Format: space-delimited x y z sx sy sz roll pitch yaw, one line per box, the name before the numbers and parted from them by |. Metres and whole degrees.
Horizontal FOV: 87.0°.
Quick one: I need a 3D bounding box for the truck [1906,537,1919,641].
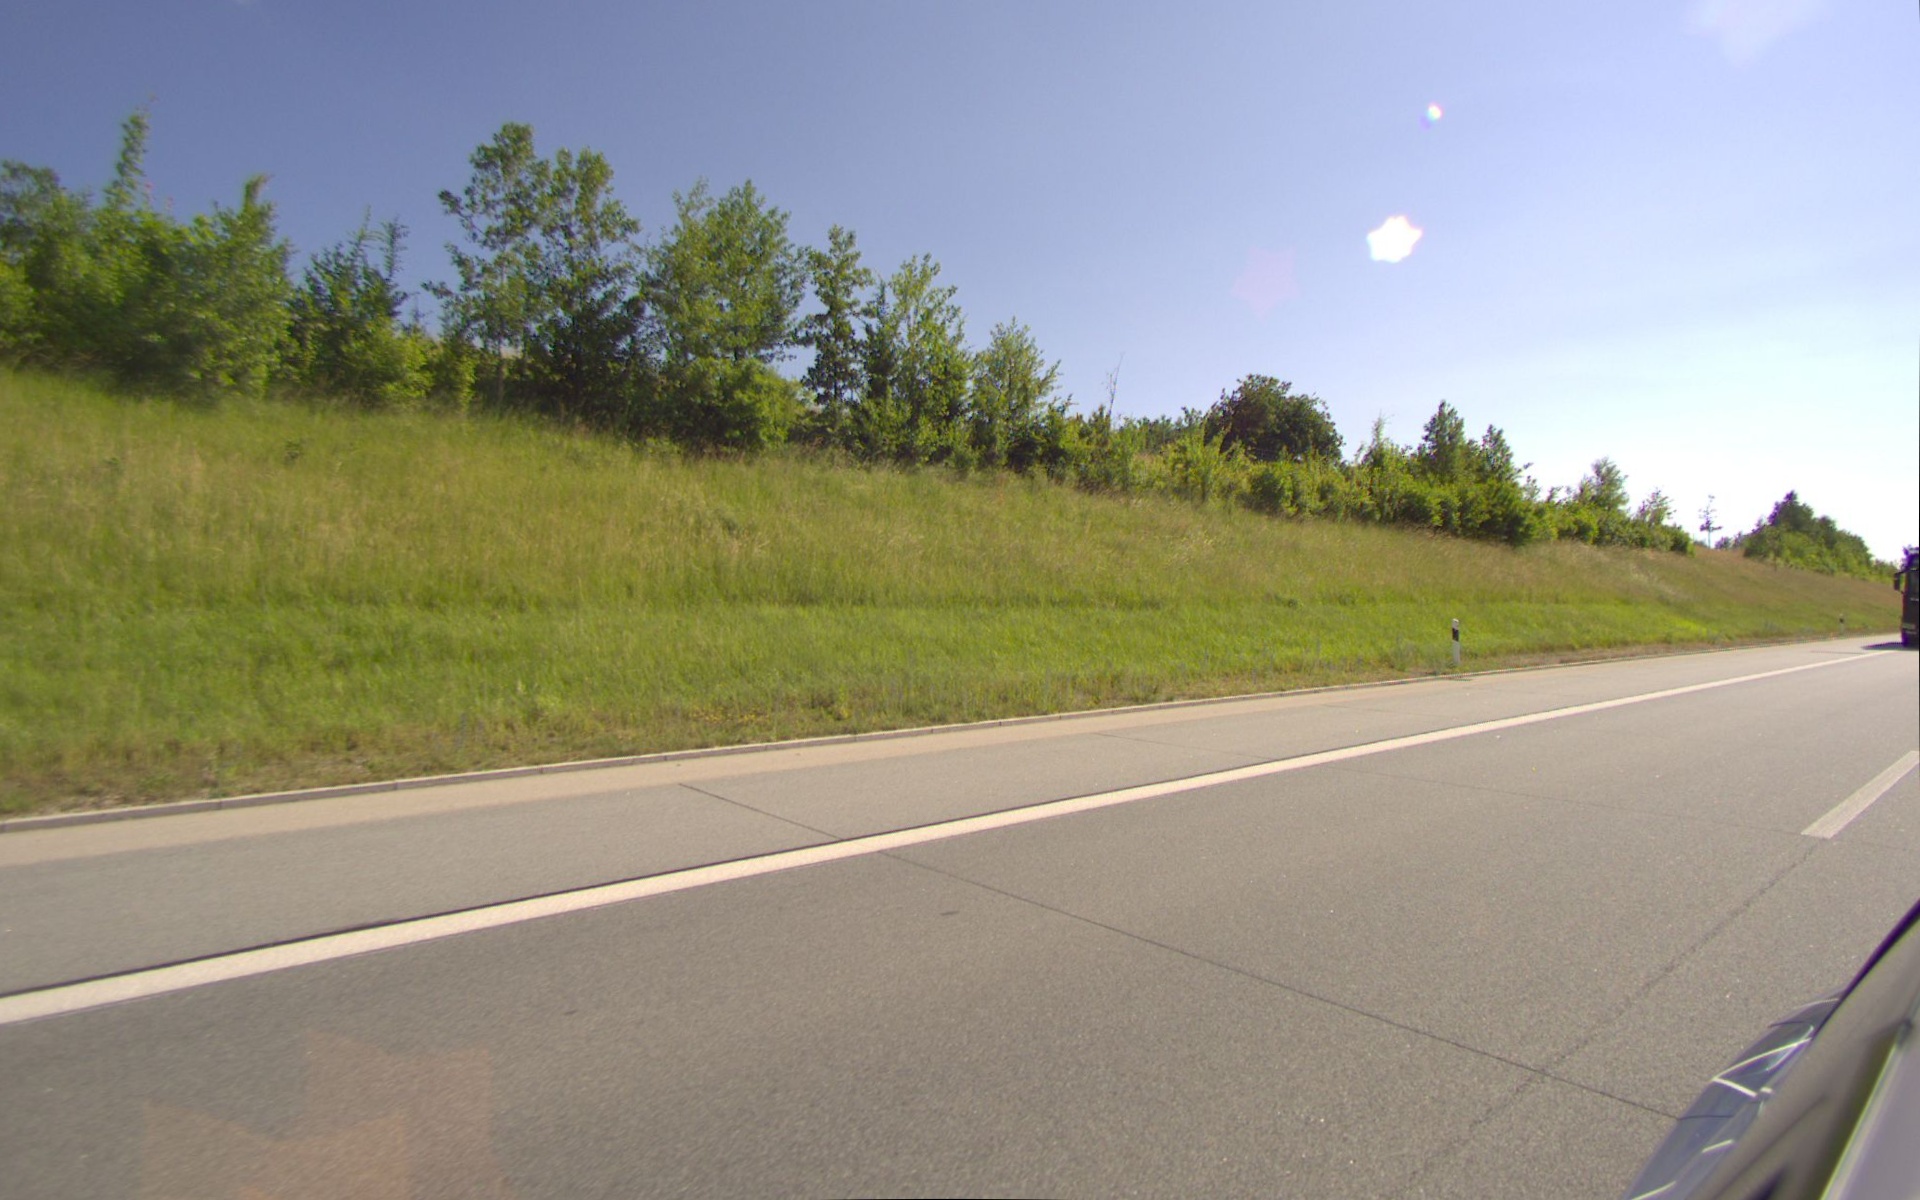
truck | 41.379 -0.436 40.986 13.162 3.867 2.621 0 -3 -39
